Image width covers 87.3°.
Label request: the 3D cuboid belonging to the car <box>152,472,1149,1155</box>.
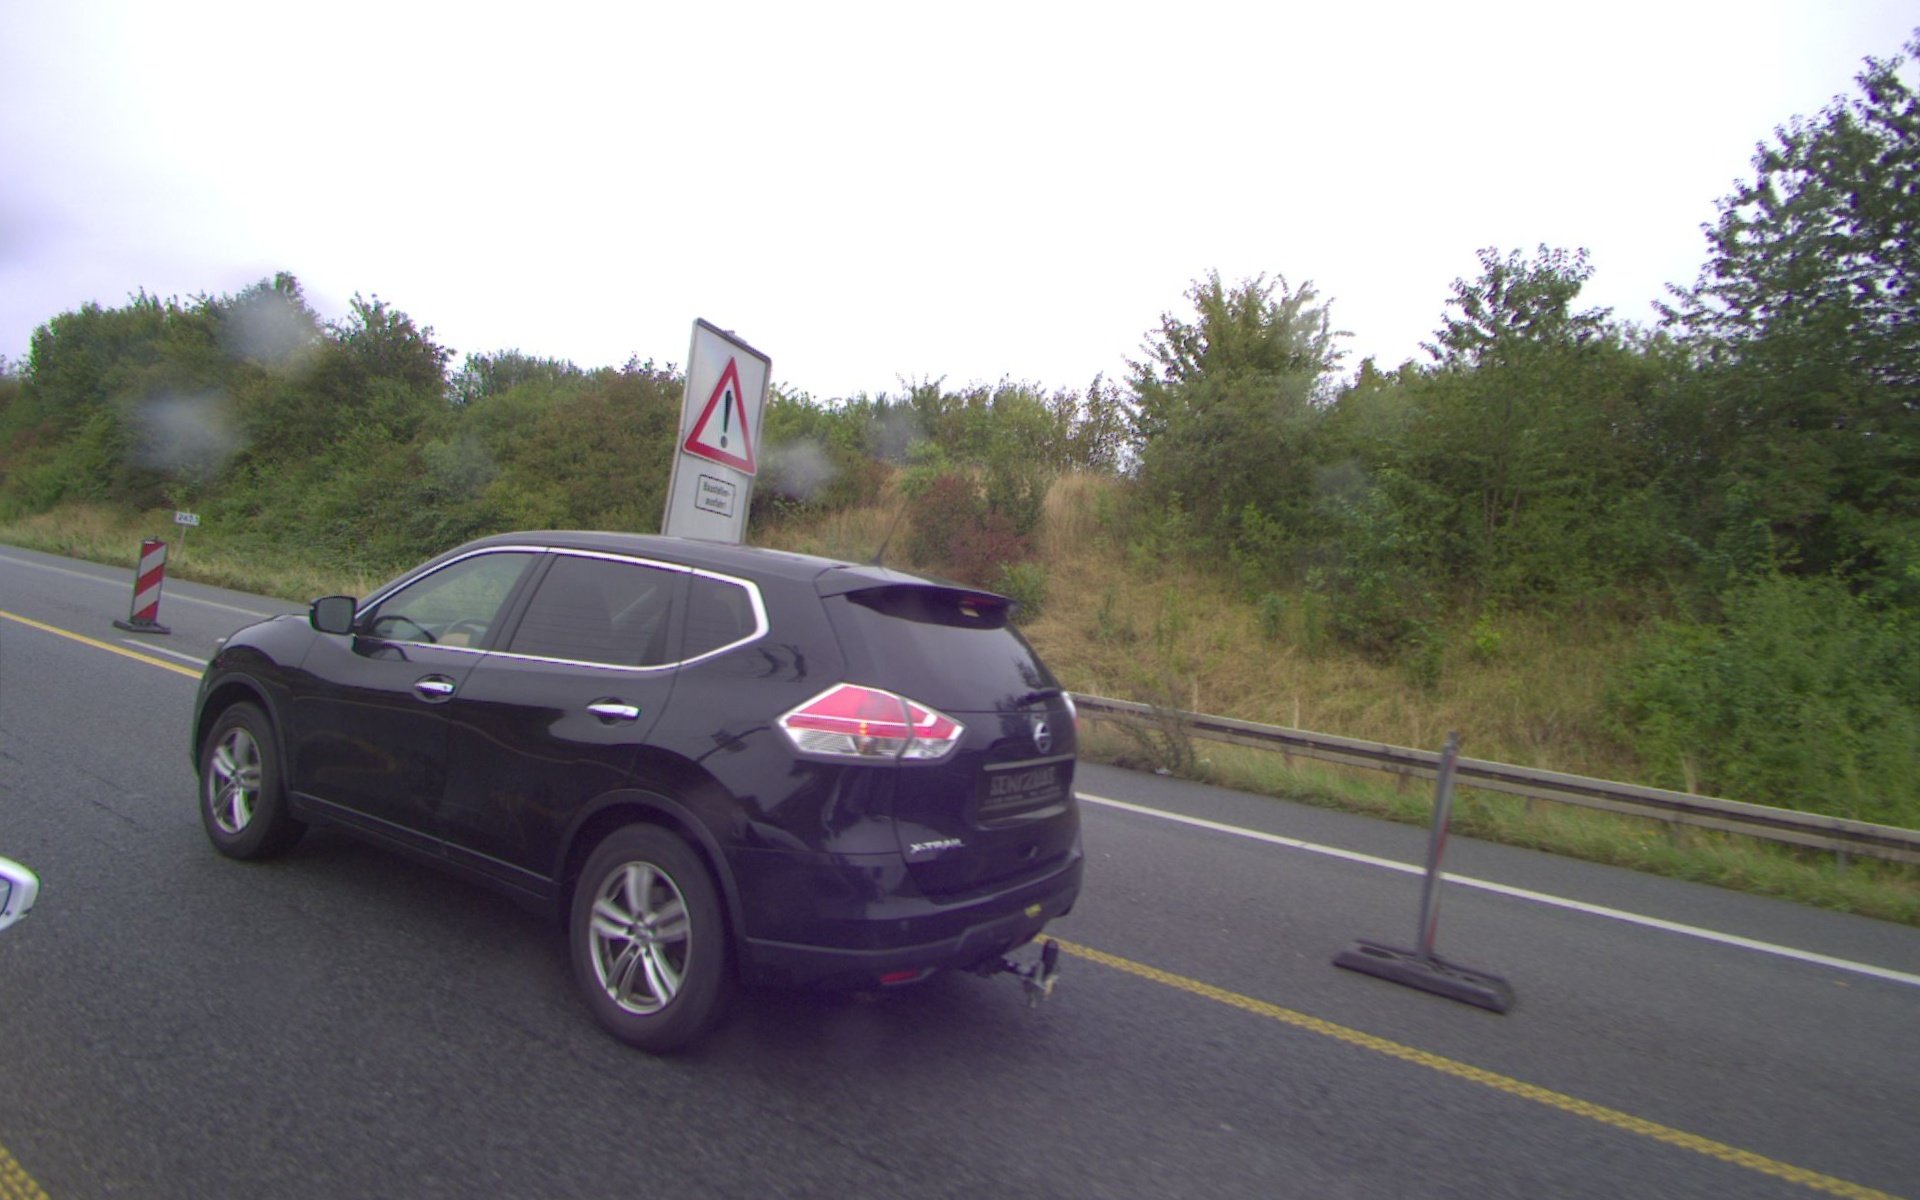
[{"bbox_3d":[-1.538,0.504,4.469,4.208,1.678,1.688,7,-1,30],"label":"car"}]
